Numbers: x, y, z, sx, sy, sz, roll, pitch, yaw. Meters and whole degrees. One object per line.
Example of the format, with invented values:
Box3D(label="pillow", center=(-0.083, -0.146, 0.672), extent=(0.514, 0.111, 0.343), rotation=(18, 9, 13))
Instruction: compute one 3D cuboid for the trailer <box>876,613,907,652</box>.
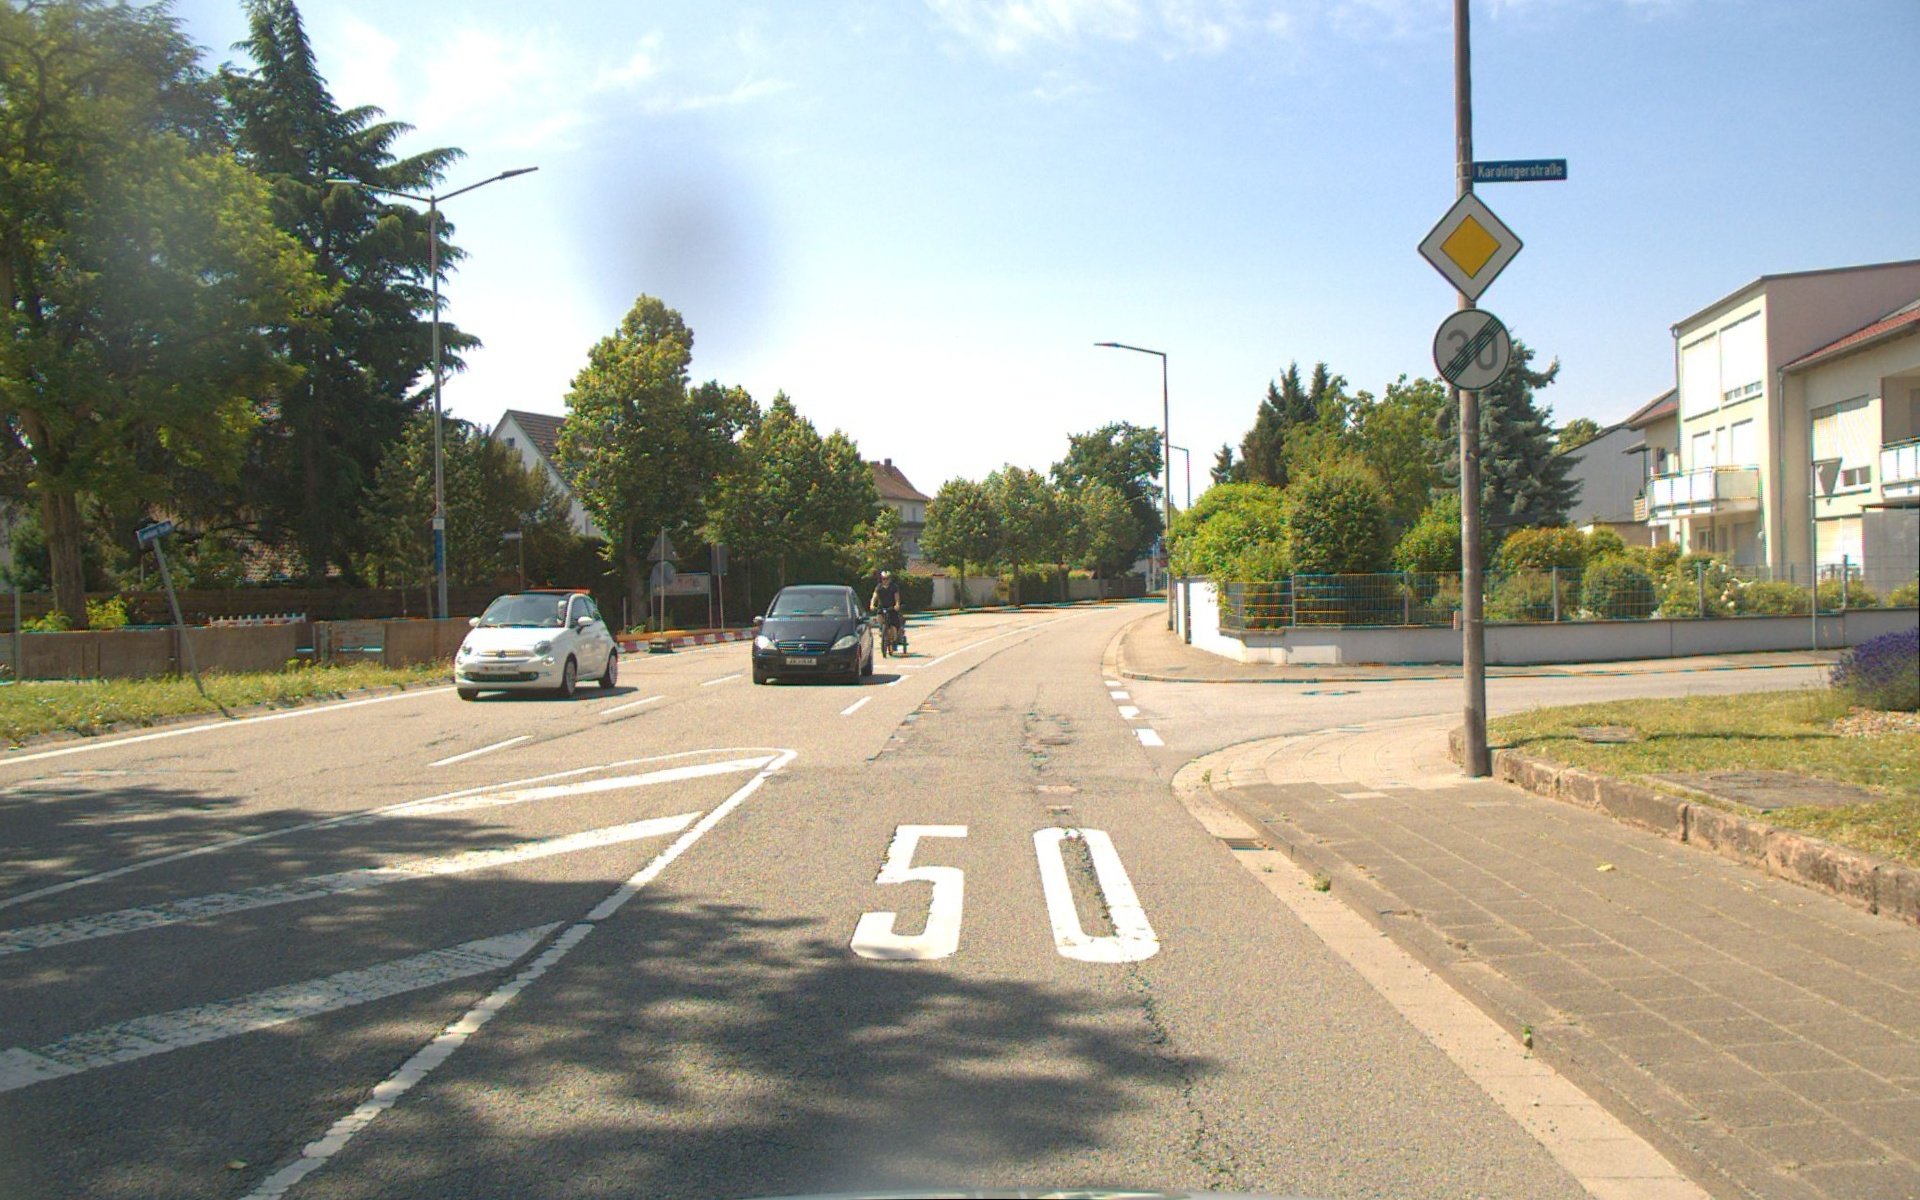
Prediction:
Box3D(label="trailer", center=(-1.575, 0.743, 38.228), extent=(0.558, 0.871, 1.133), rotation=(-2, 0, 4))

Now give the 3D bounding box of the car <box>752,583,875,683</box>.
Box3D(label="car", center=(-2.410, 0.507, 27.965), extent=(1.690, 1.559, 3.831), rotation=(0, 0, 1))

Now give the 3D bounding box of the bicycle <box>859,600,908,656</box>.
Box3D(label="bicycle", center=(-1.683, 0.608, 36.670), extent=(0.832, 1.186, 1.978), rotation=(-1, 0, 4))

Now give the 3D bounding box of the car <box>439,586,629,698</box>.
Box3D(label="car", center=(-6.194, 0.560, 24.412), extent=(1.663, 1.536, 3.461), rotation=(0, 0, 5))

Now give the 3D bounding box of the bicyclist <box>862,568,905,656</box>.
Box3D(label="bicyclist", center=(-1.686, 0.258, 36.681), extent=(0.828, 1.898, 0.977), rotation=(-1, 0, 4))
